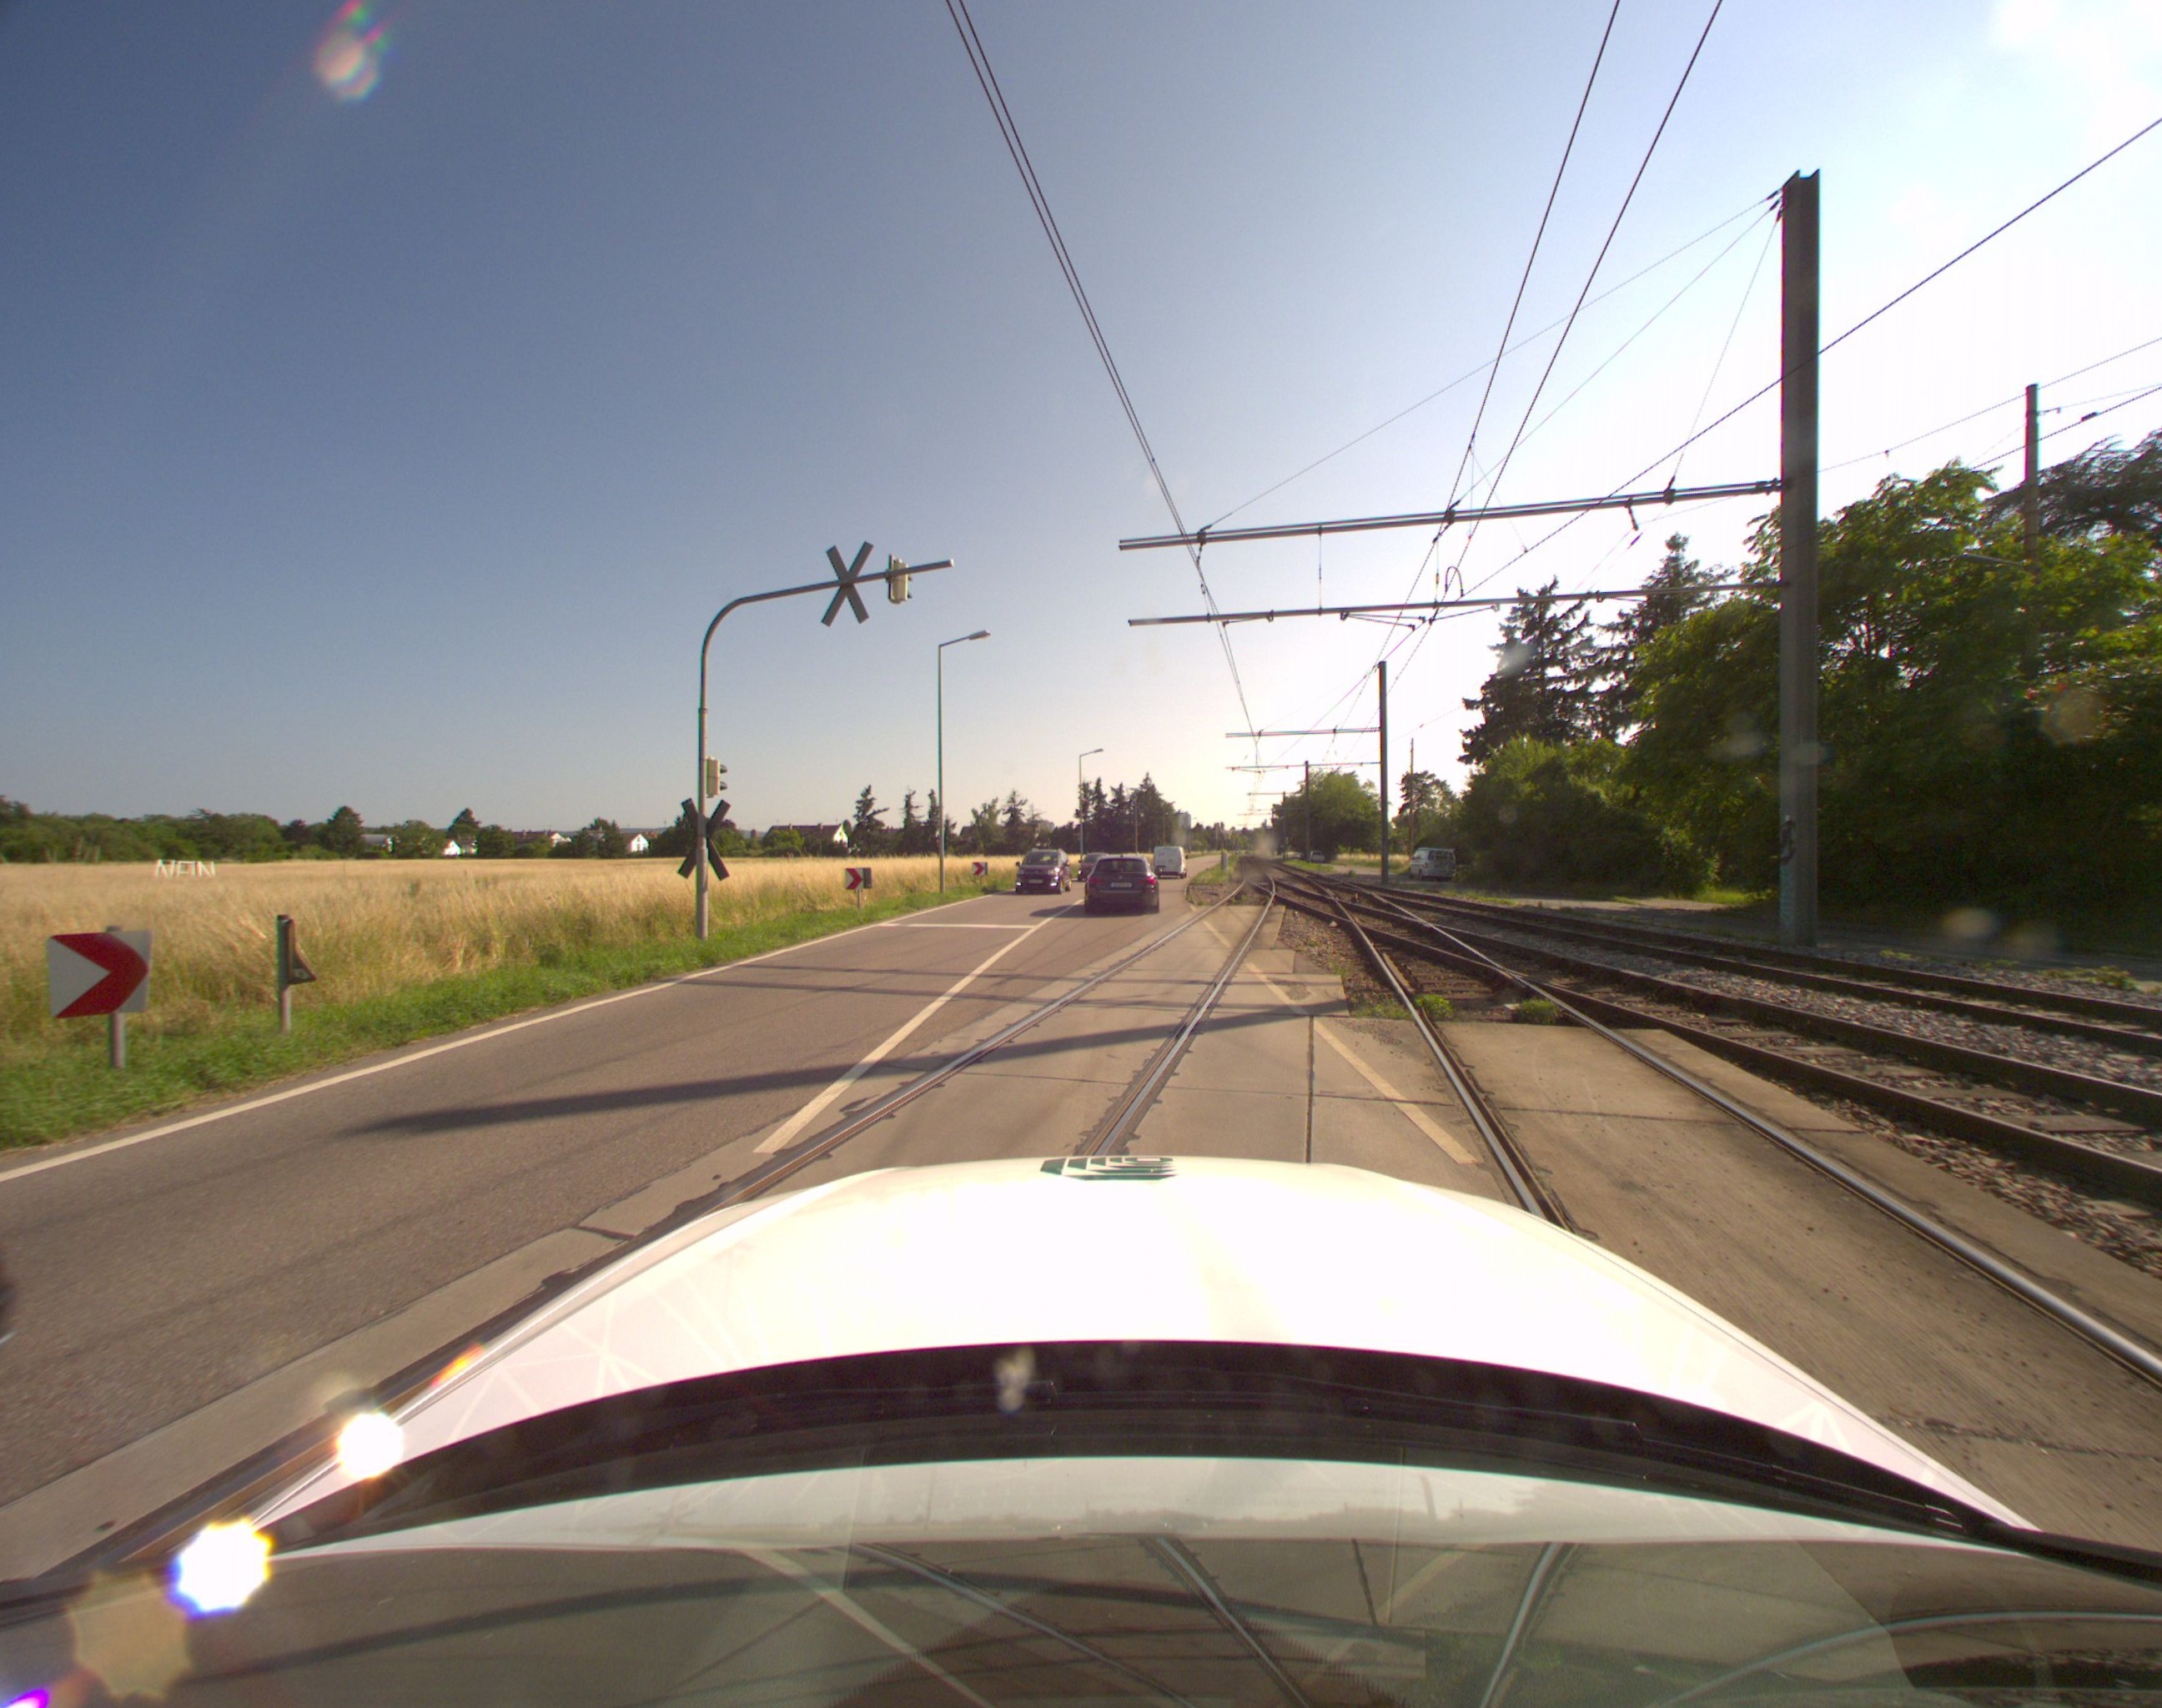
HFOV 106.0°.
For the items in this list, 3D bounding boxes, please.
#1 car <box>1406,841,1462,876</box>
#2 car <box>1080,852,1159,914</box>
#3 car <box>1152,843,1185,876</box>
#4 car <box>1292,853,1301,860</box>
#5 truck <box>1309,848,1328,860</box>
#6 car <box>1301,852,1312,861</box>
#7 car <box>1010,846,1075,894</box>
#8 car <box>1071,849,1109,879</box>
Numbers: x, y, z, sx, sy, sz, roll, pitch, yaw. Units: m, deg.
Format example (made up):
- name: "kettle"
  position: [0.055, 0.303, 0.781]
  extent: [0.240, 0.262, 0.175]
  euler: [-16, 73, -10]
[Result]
- name: "car"
  position: [21.684, 0.244, 50.221]
  extent: [1.981, 2.004, 5.082]
  euler: [2, 1, 10]
- name: "car"
  position: [1.133, 0.672, 21.585]
  extent: [1.860, 1.452, 4.751]
  euler: [0, 0, 5]
- name: "car"
  position: [5.653, 0.280, 52.123]
  extent: [1.847, 1.988, 5.121]
  euler: [0, 1, 8]
- name: "car"
  position: [44.983, 0.454, 169.955]
  extent: [1.611, 1.398, 3.500]
  euler: [1, -1, 11]
- name: "truck"
  position: [36.260, -0.068, 124.556]
  extent: [2.190, 1.819, 5.947]
  euler: [0, 0, 11]
- name: "car"
  position: [42.134, 0.458, 152.132]
  extent: [1.723, 1.679, 3.557]
  euler: [1, -1, 14]
- name: "car"
  position: [-1.380, 0.541, 31.260]
  extent: [1.697, 1.665, 4.600]
  euler: [0, 1, 7]
- name: "car"
  position: [0.546, 0.533, 44.833]
  extent: [1.704, 1.549, 3.935]
  euler: [0, 1, 6]
